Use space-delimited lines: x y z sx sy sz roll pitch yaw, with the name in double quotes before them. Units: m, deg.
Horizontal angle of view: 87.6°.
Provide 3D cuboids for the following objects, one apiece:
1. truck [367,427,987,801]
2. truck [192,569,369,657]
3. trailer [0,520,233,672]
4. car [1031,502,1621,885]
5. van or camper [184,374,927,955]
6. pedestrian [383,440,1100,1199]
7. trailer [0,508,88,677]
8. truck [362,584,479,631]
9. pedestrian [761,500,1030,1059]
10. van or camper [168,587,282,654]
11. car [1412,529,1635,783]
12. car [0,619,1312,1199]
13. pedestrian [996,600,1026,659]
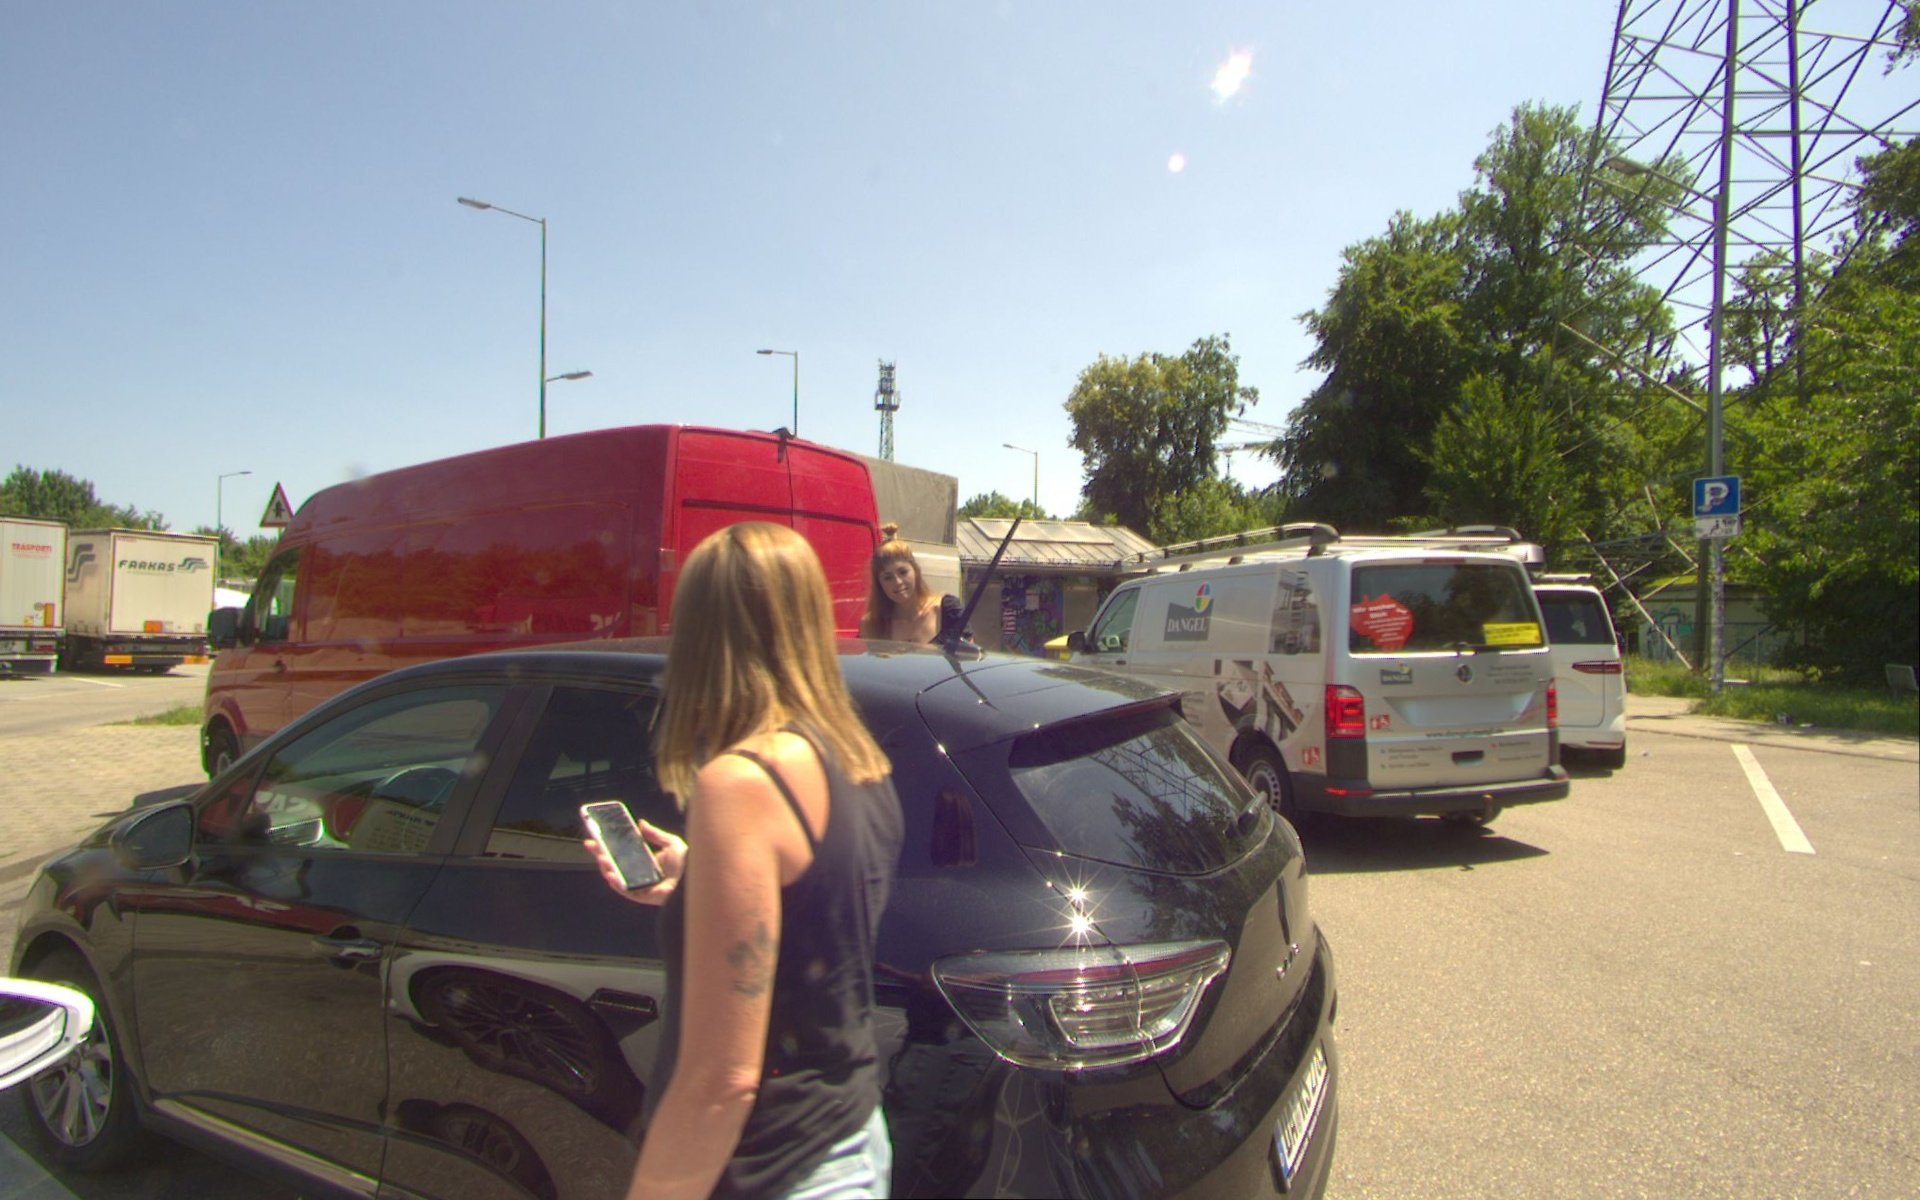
"truck" -3.266 0.134 10.550 6.874 2.828 2.460 0 -1 35
"truck" -31.700 0.510 46.466 11.255 3.615 2.484 2 -1 33
"trailer" -27.300 -0.198 31.454 12.255 4.090 2.862 2 -1 33
"car" 2.448 0.562 8.521 1.964 2.178 5.305 -1 -1 -16
"van or camper" -3.370 0.325 7.344 6.394 2.688 1.990 0 -1 36
"pedestrian" -0.239 0.676 1.245 0.636 1.606 0.654 1 0 -9
"trailer" -28.361 -0.328 27.789 12.255 4.090 2.862 2 -1 33
"truck" -34.731 0.471 64.268 9.637 2.857 2.121 0 -1 33
"pedestrian" -0.208 0.619 3.826 0.899 1.896 0.774 1 0 2
"van or camper" -30.419 0.823 41.375 5.296 2.595 2.100 0 -1 34
"car" 6.535 0.570 11.551 1.892 2.354 4.074 -1 -1 32
"car" -1.064 0.836 2.837 3.706 1.503 1.615 0 -1 27
"pedestrian" 1.422 0.838 28.195 0.751 1.629 0.756 1 0 -2
